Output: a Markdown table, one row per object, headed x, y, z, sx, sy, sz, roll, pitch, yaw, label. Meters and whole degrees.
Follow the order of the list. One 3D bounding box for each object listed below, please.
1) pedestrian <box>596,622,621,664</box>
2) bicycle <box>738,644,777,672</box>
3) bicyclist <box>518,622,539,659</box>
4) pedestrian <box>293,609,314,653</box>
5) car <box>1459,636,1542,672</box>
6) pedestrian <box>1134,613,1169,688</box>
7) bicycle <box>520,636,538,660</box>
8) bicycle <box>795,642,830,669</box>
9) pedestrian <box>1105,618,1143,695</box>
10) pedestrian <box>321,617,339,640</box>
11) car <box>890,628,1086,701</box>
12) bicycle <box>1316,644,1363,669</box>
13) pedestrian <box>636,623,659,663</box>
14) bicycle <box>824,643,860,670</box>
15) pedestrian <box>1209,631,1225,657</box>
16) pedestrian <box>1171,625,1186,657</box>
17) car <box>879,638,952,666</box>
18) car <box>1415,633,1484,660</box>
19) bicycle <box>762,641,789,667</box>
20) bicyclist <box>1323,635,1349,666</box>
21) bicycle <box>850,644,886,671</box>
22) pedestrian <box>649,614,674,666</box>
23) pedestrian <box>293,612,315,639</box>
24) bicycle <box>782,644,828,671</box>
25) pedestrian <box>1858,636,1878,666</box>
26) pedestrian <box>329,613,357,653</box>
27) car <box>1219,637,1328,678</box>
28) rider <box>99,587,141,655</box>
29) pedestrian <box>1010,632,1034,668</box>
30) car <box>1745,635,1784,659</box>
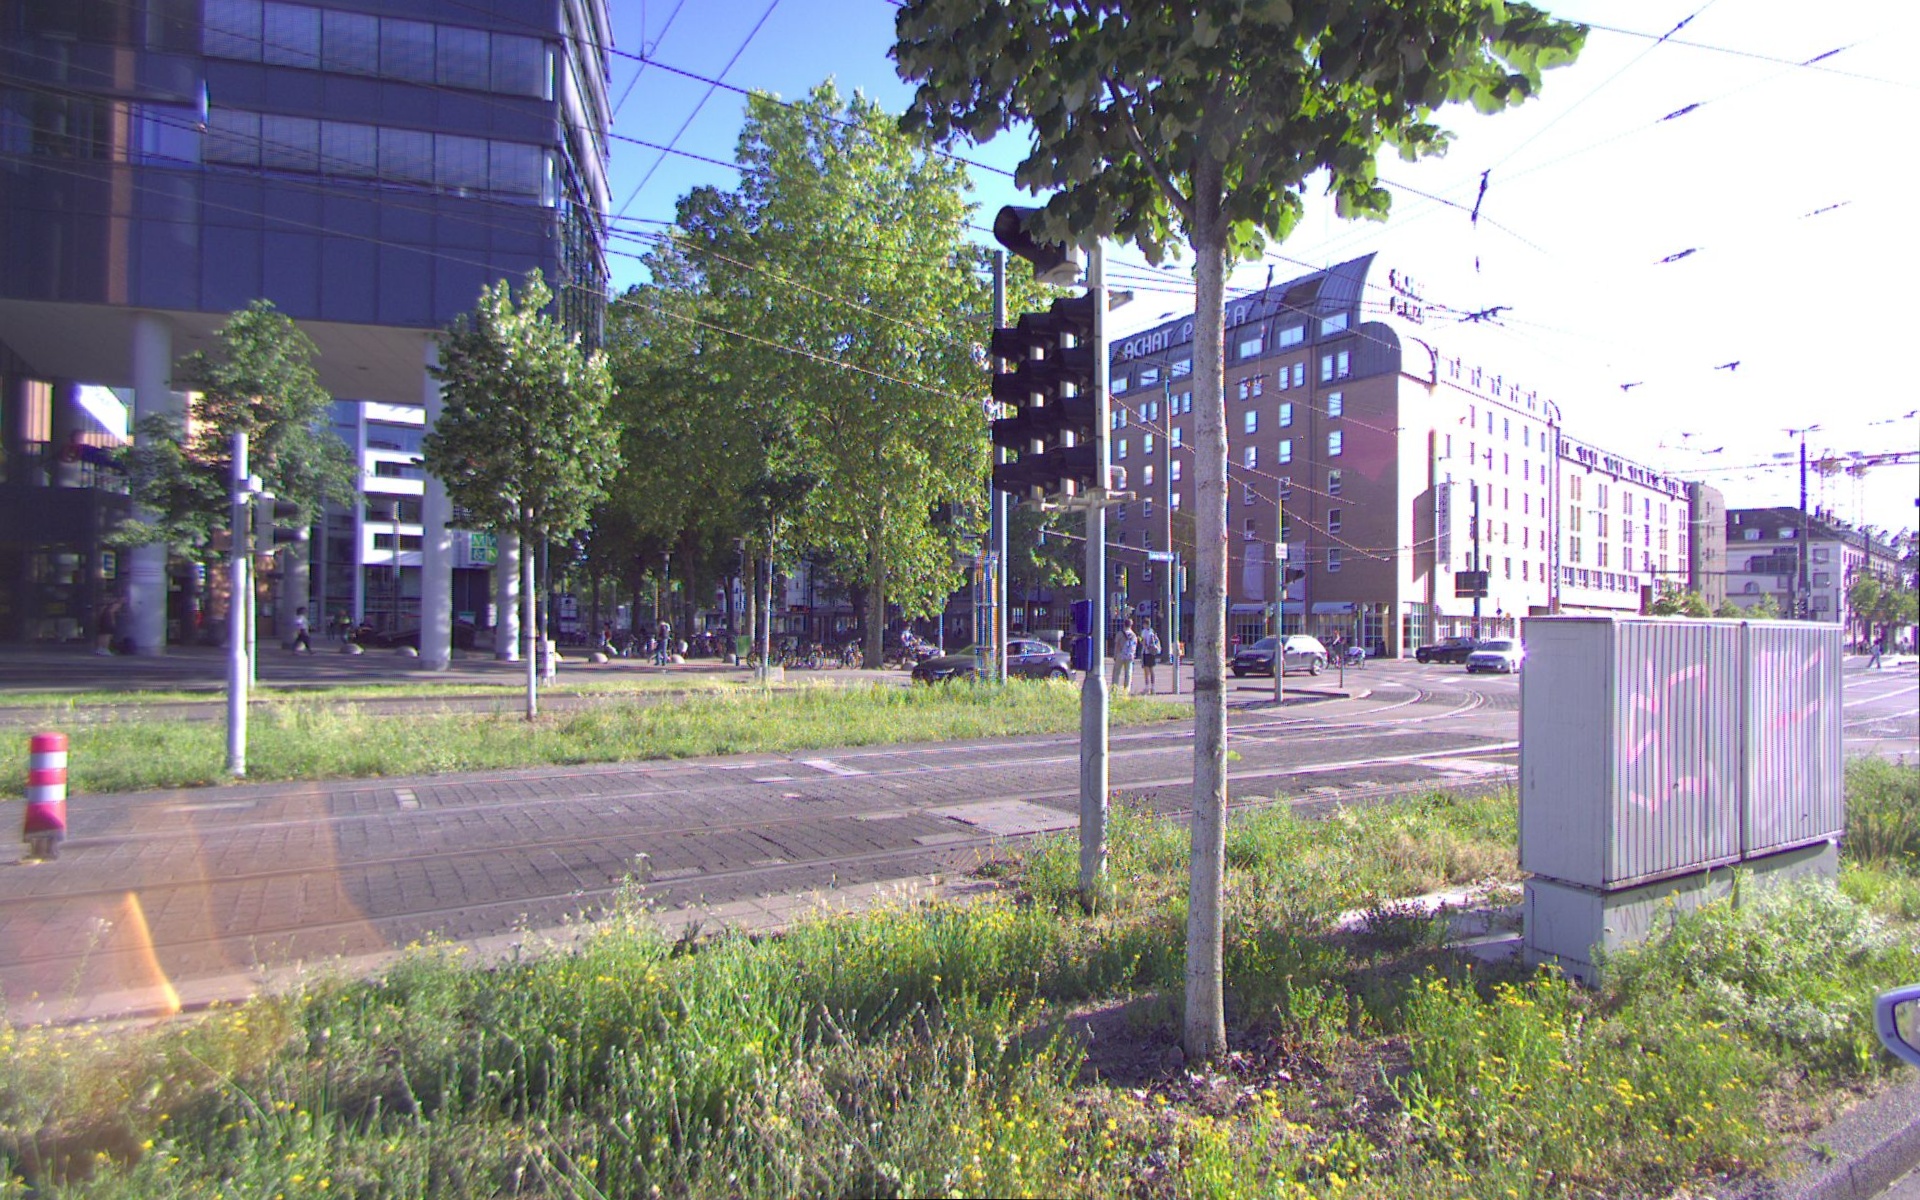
| x | y | z | sx | sy | sz | roll | pitch | yaw | label |
| --- | --- | --- | --- | --- | --- | --- | --- | --- | --- |
| -13.887 | 1.706 | 39.684 | 0.826 | 1.619 | 0.730 | 1 | 0 | -25 | pedestrian |
| -7.469 | 2.112 | 36.992 | 0.538 | 0.964 | 1.748 | 2 | -2 | -44 | bicycle |
| -17.423 | 1.634 | 40.546 | 0.672 | 1.484 | 1.008 | 1 | -1 | -30 | bicyclist |
| -22.537 | 1.053 | 34.483 | 0.566 | 1.500 | 0.450 | 1 | 0 | -30 | pedestrian |
| 23.532 | 2.324 | 43.688 | 3.960 | 1.468 | 1.563 | 2 | -2 | -35 | car |
| 4.775 | 1.251 | 25.015 | 0.656 | 1.841 | 0.559 | 1 | -1 | -36 | pedestrian |
| -17.437 | 1.941 | 40.591 | 0.493 | 0.922 | 1.875 | 1 | -2 | -28 | bicycle |
| -5.643 | 2.113 | 38.376 | 0.536 | 0.964 | 1.753 | 2 | -2 | -36 | bicycle |
| 4.021 | 1.378 | 24.610 | 0.656 | 1.854 | 0.627 | 1 | -1 | -36 | pedestrian |
| -35.714 | 1.616 | 56.955 | 0.651 | 1.294 | 0.636 | 1 | 0 | -13 | pedestrian |
| 0.749 | 1.553 | 25.459 | 4.684 | 1.617 | 1.983 | 0 | -1 | -31 | car |
| 17.544 | 2.604 | 46.402 | 2.900 | 1.099 | 0.645 | 2 | -2 | -38 | bicycle |
| -13.127 | 1.805 | 42.206 | 0.826 | 1.667 | 0.730 | 1 | -1 | -25 | pedestrian |
| -4.461 | 2.132 | 37.875 | 0.536 | 0.964 | 1.753 | 2 | -2 | -36 | bicycle |
| 15.360 | 2.629 | 59.971 | 0.652 | 1.523 | 0.672 | 1 | -1 | -33 | pedestrian |
| 14.110 | 2.620 | 64.923 | 0.669 | 2.040 | 0.663 | 1 | -1 | -29 | pedestrian |
| -2.220 | 2.515 | 49.143 | 1.977 | 1.283 | 3.968 | 1 | -2 | -30 | car |
| 29.838 | 2.802 | 61.222 | 3.947 | 1.570 | 1.749 | 1 | -2 | -26 | car |
| -7.049 | 2.056 | 38.437 | 0.530 | 0.964 | 1.772 | 1 | -1 | 7 | bicycle |
| 17.353 | 2.334 | 46.314 | 0.942 | 1.393 | 0.752 | 2 | -1 | -37 | bicyclist |
| -3.499 | 2.159 | 38.085 | 0.536 | 0.964 | 1.753 | 2 | -2 | -36 | bicycle |
| -11.847 | 1.584 | 39.900 | 0.826 | 2.040 | 0.730 | 1 | 0 | -25 | pedestrian |
| -36.444 | 1.406 | 55.784 | 0.647 | 1.500 | 1.053 | 1 | 0 | -13 | pedestrian |
| -5.693 | 2.102 | 36.880 | 1.742 | 0.964 | 0.540 | 0 | -1 | 34 | bicycle |
| 52.161 | 2.921 | 57.686 | 0.755 | 1.662 | 0.742 | 0 | -1 | 35 | pedestrian |
| -27.065 | 1.452 | 44.051 | 0.794 | 1.730 | 0.789 | 1 | 0 | -13 | pedestrian |
| 11.572 | 2.093 | 37.005 | 4.104 | 1.440 | 1.711 | 2 | -4 | -36 | car |
| -22.911 | 0.587 | 27.410 | 0.704 | 1.826 | 0.715 | 1 | -1 | -29 | rider |
| 2.905 | 2.326 | 47.037 | 0.832 | 1.619 | 0.692 | 1 | 0 | -33 | pedestrian |
| 53.369 | 3.099 | 66.615 | 1.726 | 1.524 | 3.858 | -1 | -2 | 43 | car |
